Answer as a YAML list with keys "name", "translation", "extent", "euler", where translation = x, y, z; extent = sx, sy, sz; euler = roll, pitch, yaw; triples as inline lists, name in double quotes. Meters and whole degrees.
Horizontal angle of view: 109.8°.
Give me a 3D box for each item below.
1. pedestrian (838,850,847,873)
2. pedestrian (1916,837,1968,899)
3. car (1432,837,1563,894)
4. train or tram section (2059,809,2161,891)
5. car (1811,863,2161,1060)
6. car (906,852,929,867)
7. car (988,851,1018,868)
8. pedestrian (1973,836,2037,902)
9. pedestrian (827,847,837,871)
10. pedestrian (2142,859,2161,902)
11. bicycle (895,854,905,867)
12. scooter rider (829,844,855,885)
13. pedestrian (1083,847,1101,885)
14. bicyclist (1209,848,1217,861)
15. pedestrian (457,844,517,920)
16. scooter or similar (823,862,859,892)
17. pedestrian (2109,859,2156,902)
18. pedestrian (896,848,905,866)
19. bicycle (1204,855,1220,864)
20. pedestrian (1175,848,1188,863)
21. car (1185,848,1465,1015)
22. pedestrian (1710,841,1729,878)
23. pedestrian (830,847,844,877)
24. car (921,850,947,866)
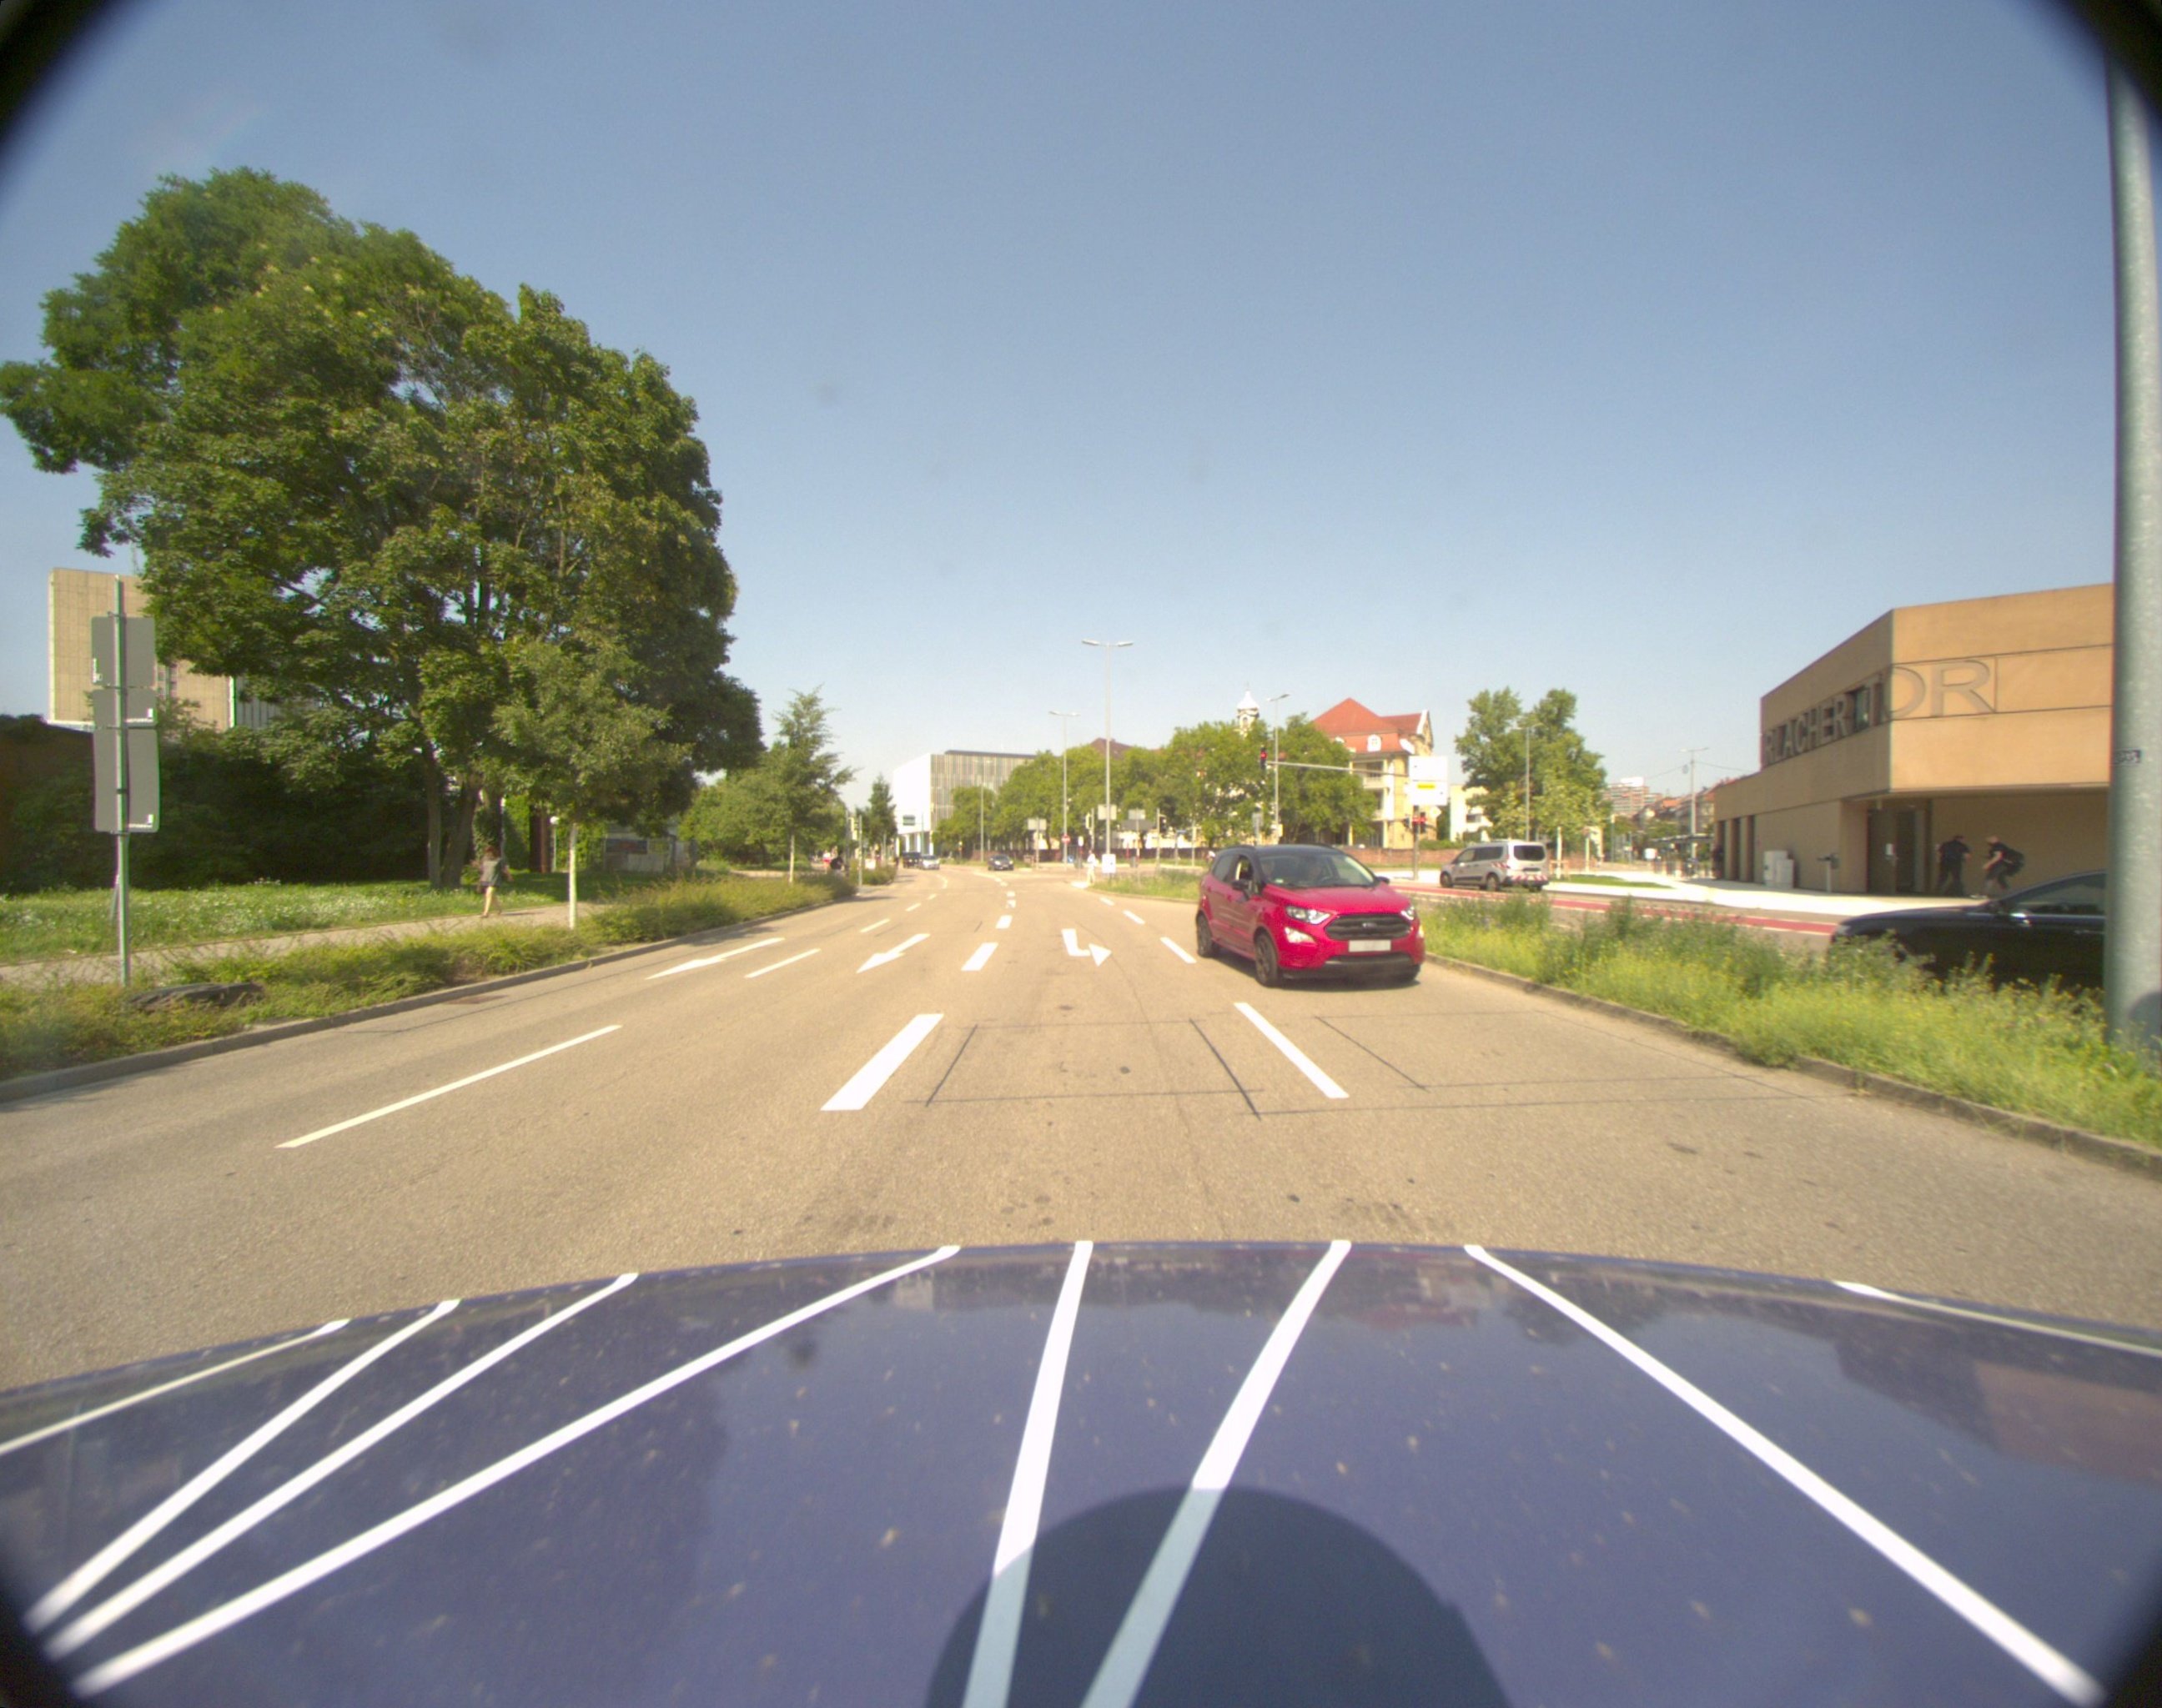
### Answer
- name: "pedestrian"
  translation: [-18.115, 0.549, 57.723]
  extent: [0.694, 1.761, 0.586]
  euler: [0, 1, -20]
- name: "pedestrian"
  translation: [23.668, 0.375, 20.898]
  extent: [0.633, 1.679, 0.745]
  euler: [0, 1, -21]
- name: "car"
  translation: [15.175, 0.376, 27.994]
  extent: [2.000, 1.849, 4.331]
  euler: [2, 0, -7]
- name: "train or tram section"
  translation: [50.361, -0.096, 35.297]
  extent: [3.152, 3.576, 8.263]
  euler: [2, 0, 31]
- name: "car"
  translation: [9.218, 0.855, 6.225]
  extent: [1.775, 1.402, 4.765]
  euler: [-2, 1, -2]
- name: "car"
  translation: [-19.203, 0.609, 89.136]
  extent: [2.002, 1.769, 3.993]
  euler: [0, 0, -20]
- name: "car"
  translation: [-6.991, 0.473, 68.005]
  extent: [1.793, 1.349, 3.417]
  euler: [-2, 1, -21]
- name: "pedestrian"
  translation: [24.047, 0.374, 19.789]
  extent: [0.646, 1.693, 0.809]
  euler: [0, 1, -2]
- name: "pedestrian"
  translation: [-18.836, 0.389, 57.468]
  extent: [0.694, 1.761, 0.586]
  euler: [0, 1, -20]
- name: "pedestrian"
  translation: [27.771, 0.669, 19.437]
  extent: [0.539, 1.078, 0.501]
  euler: [1, 1, 30]
- name: "bicycle"
  translation: [-17.182, 0.648, 72.161]
  extent: [0.787, 1.205, 1.786]
  euler: [0, 1, -20]
- name: "scooter rider"
  translation: [-10.185, 0.446, 32.428]
  extent: [0.803, 1.729, 0.689]
  euler: [1, 1, 16]
- name: "pedestrian"
  translation: [0.488, 0.525, 33.829]
  extent: [0.699, 1.685, 0.608]
  euler: [1, 1, 8]
- name: "bicyclist"
  translation: [12.133, 0.064, 69.963]
  extent: [0.541, 1.225, 0.432]
  euler: [1, 0, -26]
- name: "pedestrian"
  translation: [-13.781, 0.639, 17.649]
  extent: [0.708, 1.695, 0.878]
  euler: [2, 1, -8]
- name: "scooter or similar"
  translation: [-10.217, 0.976, 32.389]
  extent: [1.365, 1.227, 0.586]
  euler: [1, 1, 16]
- name: "pedestrian"
  translation: [27.280, 0.683, 19.715]
  extent: [0.539, 1.078, 0.501]
  euler: [1, 1, 30]
- name: "pedestrian"
  translation: [-17.127, 0.287, 72.010]
  extent: [0.781, 1.659, 0.548]
  euler: [0, 1, -20]
- name: "bicycle"
  translation: [12.042, 0.469, 69.915]
  extent: [1.488, 0.807, 0.436]
  euler: [0, 1, -27]
- name: "pedestrian"
  translation: [13.687, 0.251, 103.623]
  extent: [1.074, 2.002, 1.231]
  euler: [0, 1, -43]
- name: "car"
  translation: [2.747, 0.750, 9.602]
  extent: [1.845, 1.605, 3.997]
  euler: [-2, 1, -7]
- name: "pedestrian"
  translation: [29.133, 0.245, 34.662]
  extent: [0.567, 1.668, 0.537]
  euler: [1, 1, 30]
- name: "pedestrian"
  translation: [-14.691, 0.481, 45.766]
  extent: [0.794, 1.758, 0.825]
  euler: [0, 1, -20]
- name: "car"
  translation: [-15.236, 0.403, 78.377]
  extent: [2.002, 1.669, 3.993]
  euler: [0, 0, -20]
